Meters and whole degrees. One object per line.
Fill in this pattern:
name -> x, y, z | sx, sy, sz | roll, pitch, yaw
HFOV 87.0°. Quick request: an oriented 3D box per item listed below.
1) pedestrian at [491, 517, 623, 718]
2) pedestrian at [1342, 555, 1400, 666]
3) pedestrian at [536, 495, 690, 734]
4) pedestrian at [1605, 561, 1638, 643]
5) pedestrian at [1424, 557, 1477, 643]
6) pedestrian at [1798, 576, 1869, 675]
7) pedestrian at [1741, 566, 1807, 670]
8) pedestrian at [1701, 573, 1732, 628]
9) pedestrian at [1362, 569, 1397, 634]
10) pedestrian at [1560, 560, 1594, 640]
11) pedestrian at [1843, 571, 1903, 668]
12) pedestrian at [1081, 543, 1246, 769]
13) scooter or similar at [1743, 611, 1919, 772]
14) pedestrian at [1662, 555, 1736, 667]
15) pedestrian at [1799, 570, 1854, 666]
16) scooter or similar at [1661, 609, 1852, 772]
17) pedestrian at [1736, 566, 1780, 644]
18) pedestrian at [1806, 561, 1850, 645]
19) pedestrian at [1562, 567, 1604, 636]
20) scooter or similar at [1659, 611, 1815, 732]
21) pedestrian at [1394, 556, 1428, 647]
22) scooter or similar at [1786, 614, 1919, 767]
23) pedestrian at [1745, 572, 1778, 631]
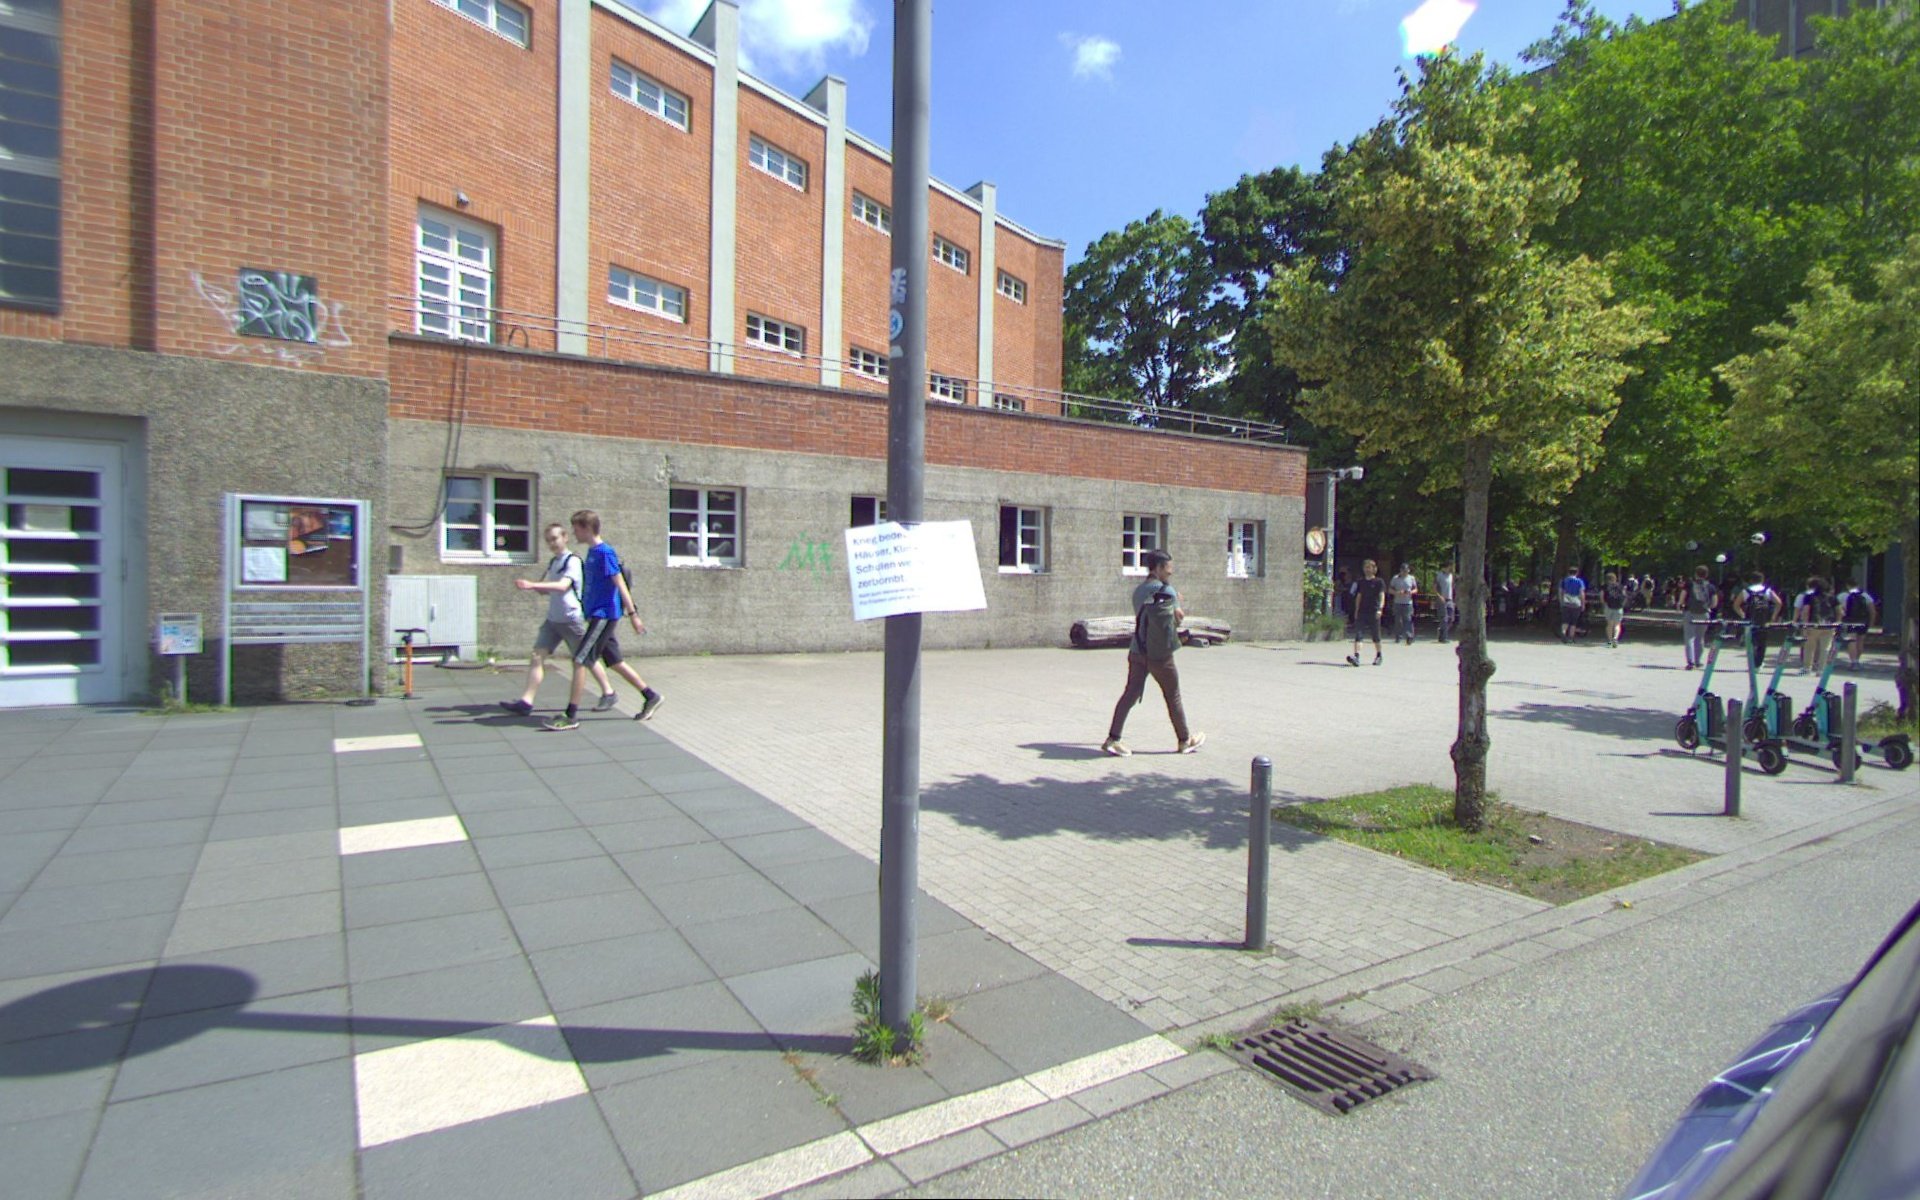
pedestrian -> -3.661, 0.132, 9.222 | 0.985, 1.728, 0.586 | -1, 2, -41
pedestrian -> 6.851, 0.153, 16.860 | 0.785, 1.799, 0.586 | -1, 2, -42
pedestrian -> -2.972, 0.096, 8.695 | 1.090, 1.913, 0.665 | -1, 2, -41
pedestrian -> 15.005, 0.046, 22.949 | 0.538, 1.816, 0.636 | 2, 1, 38
pedestrian -> 11.221, 0.008, 23.172 | 0.655, 1.911, 0.974 | 2, -2, -8
pedestrian -> 15.459, 0.432, 17.935 | 0.745, 1.694, 0.837 | 2, 1, 30
pedestrian -> 14.678, 0.305, 18.278 | 0.775, 1.813, 0.707 | 2, 1, 30
pedestrian -> 21.935, 0.003, 29.351 | 0.637, 1.577, 0.566 | 2, 1, 41
pedestrian -> 10.967, 0.052, 26.447 | 0.555, 1.677, 0.779 | 1, -2, -2
pedestrian -> 14.269, -0.003, 23.400 | 0.563, 1.816, 0.636 | 2, 1, 37
pedestrian -> 17.131, 0.342, 19.009 | 0.616, 1.760, 0.767 | 2, 1, 28
pedestrian -> 1.650, 0.399, 8.221 | 1.059, 1.696, 0.785 | -1, 2, -36
scooter or similar -> 7.610, 0.758, 8.881 | 0.565, 1.259, 1.143 | 2, 1, 2
pedestrian -> 13.581, 0.180, 18.638 | 0.976, 1.970, 0.967 | 2, 1, 33
pedestrian -> 16.526, 0.326, 19.317 | 0.597, 1.774, 0.757 | 2, 1, 29
scooter or similar -> 6.832, 0.729, 8.765 | 0.565, 1.245, 1.356 | 2, 1, 2
pedestrian -> 18.136, 0.103, 23.020 | 0.634, 1.729, 0.707 | 2, 1, 29
pedestrian -> 20.097, 0.055, 23.445 | 0.634, 1.893, 0.532 | 2, 1, 30
pedestrian -> 16.288, 0.040, 26.450 | 0.783, 1.788, 0.669 | 1, 0, -36
scooter or similar -> 8.194, 0.738, 10.680 | 1.446, 1.194, 0.577 | 1, 1, -20
pedestrian -> 9.970, 0.039, 22.374 | 0.558, 1.954, 0.885 | 1, -2, 16
scooter or similar -> 8.335, 0.782, 9.215 | 0.565, 1.248, 1.264 | 2, 1, 2
pedestrian -> 22.814, 0.034, 28.792 | 0.638, 1.659, 0.554 | 2, 1, 45
